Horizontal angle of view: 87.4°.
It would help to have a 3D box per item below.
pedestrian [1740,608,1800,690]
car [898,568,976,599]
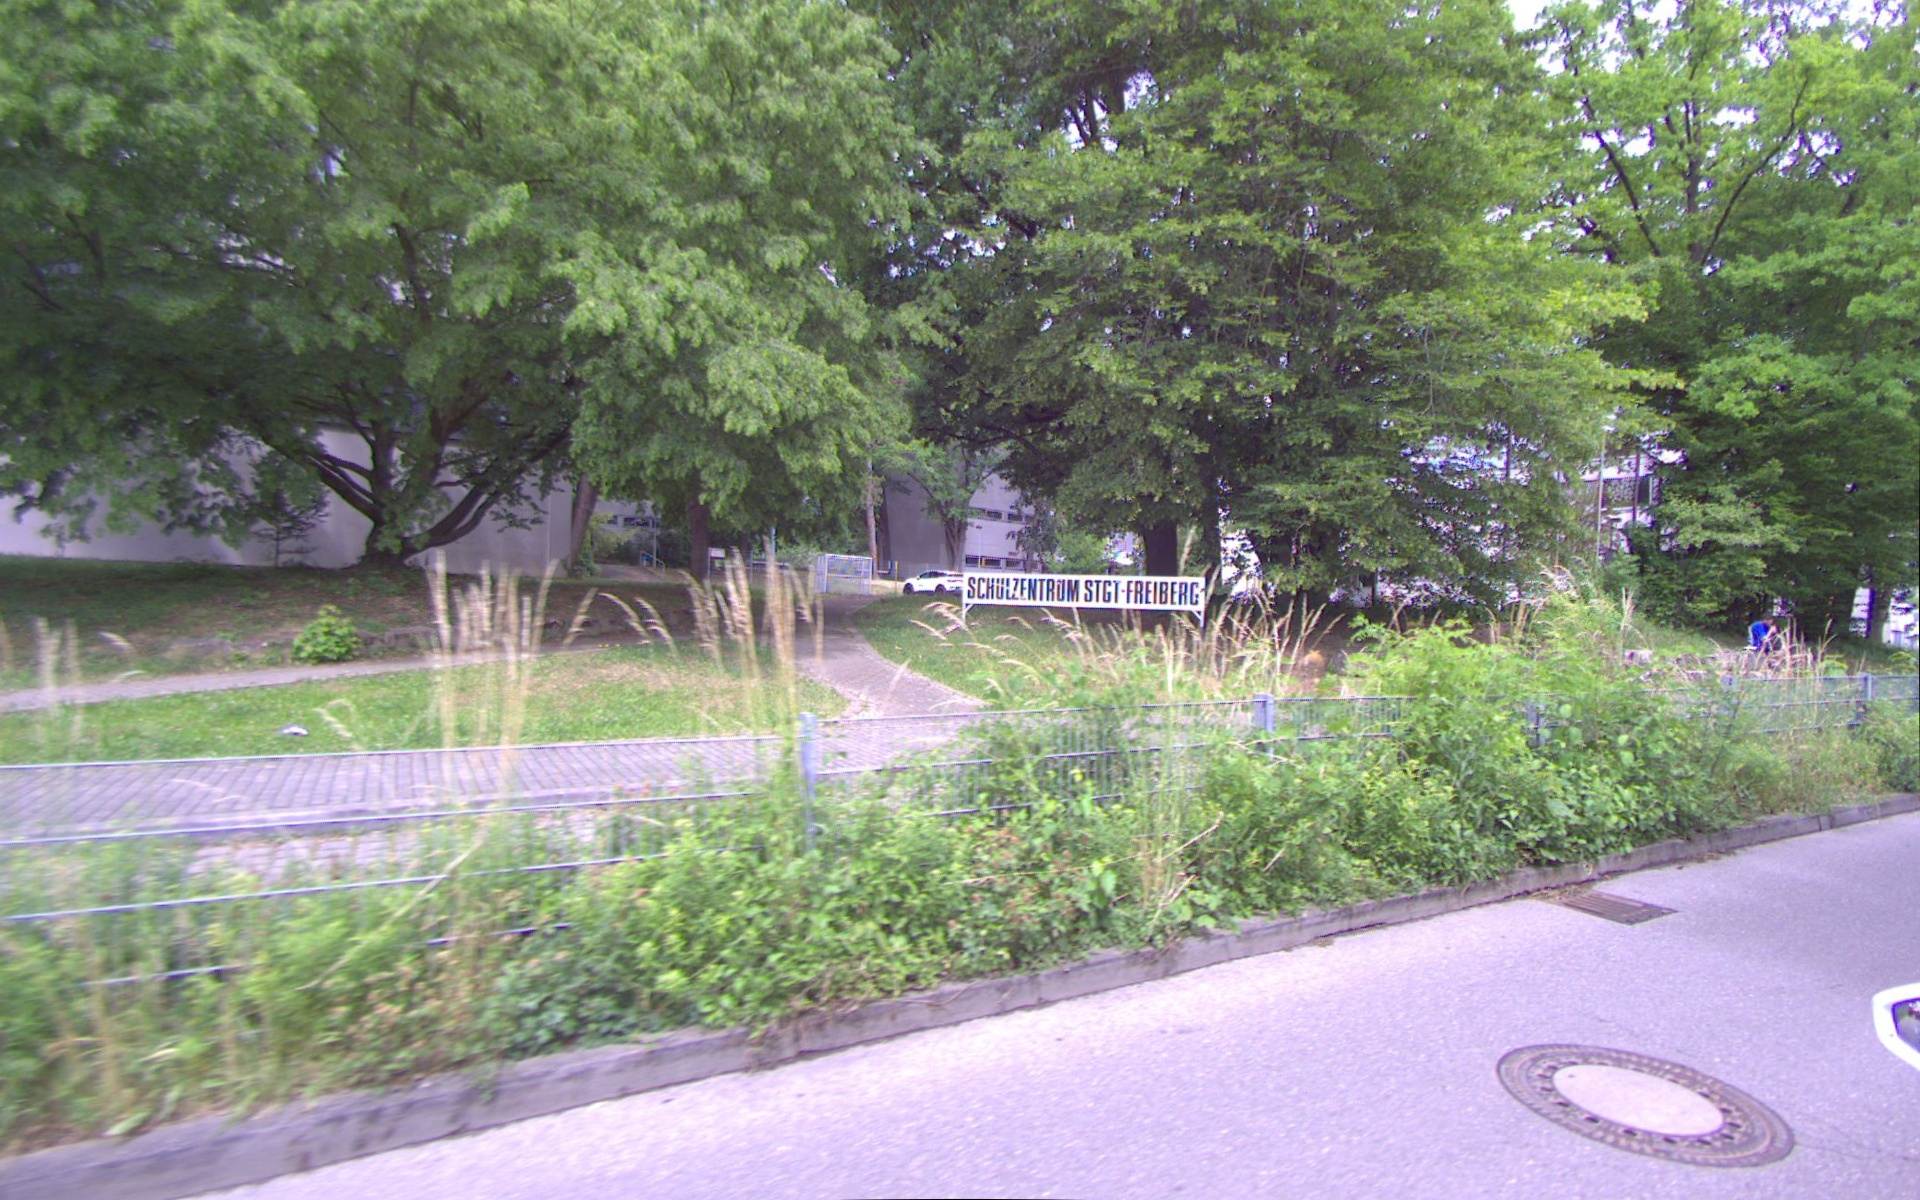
[{"bbox_3d":[17.215,1.024,21.345,0.800,1.684,0.756,1,0,-32],"label":"pedestrian"},{"bbox_3d":[-1.350,-0.939,58.361,4.386,1.717,1.963,1,-1,43],"label":"car"}]
